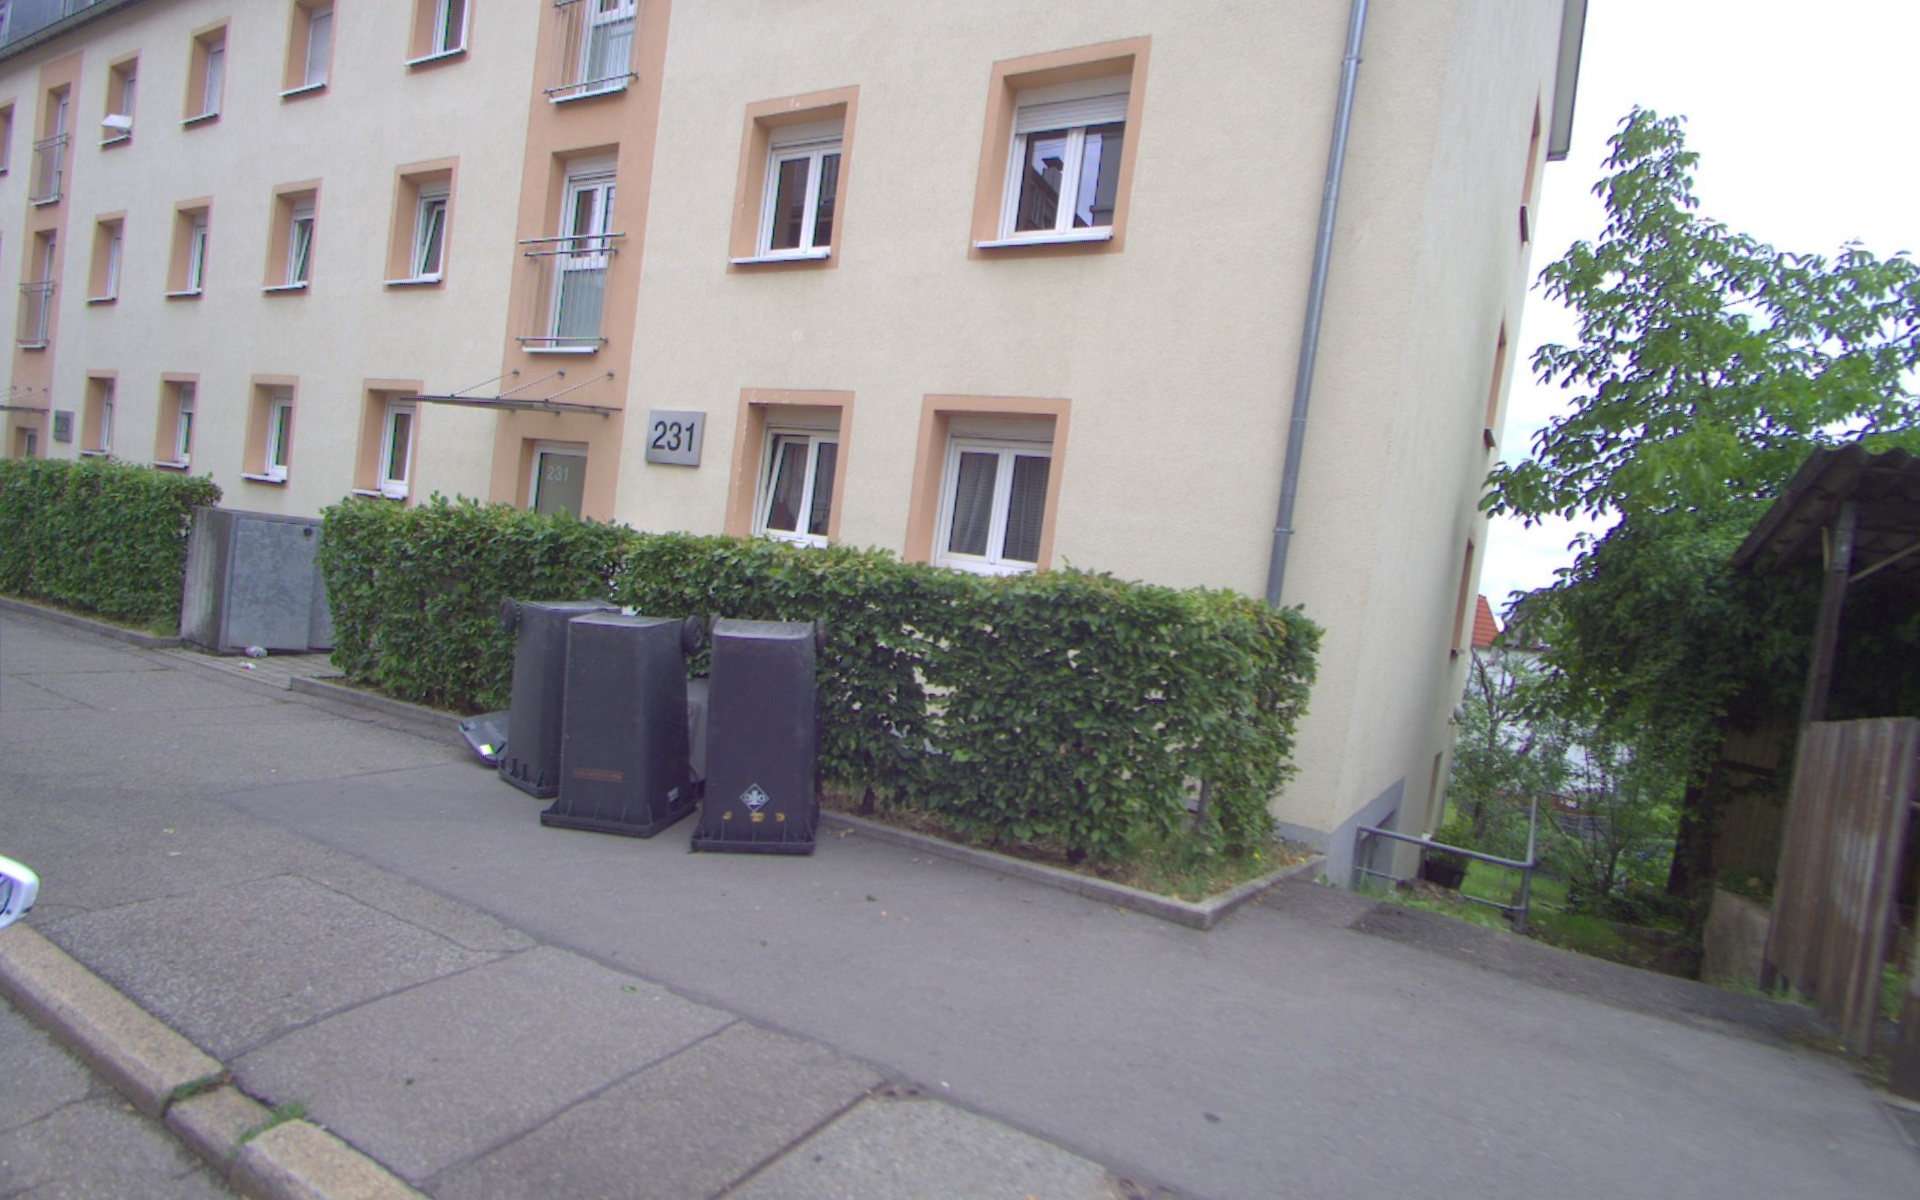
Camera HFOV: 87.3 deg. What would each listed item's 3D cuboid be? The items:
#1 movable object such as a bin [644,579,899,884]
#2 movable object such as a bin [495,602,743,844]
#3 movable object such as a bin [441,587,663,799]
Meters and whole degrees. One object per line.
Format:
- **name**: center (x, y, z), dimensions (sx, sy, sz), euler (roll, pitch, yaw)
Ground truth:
- **movable object such as a bin**: center (-0.873, 0.571, 4.766), dimensions (0.775, 1.234, 0.793), euler (6, 1, 28)
- **movable object such as a bin**: center (-1.686, 0.570, 5.037), dimensions (0.775, 1.025, 0.793), euler (6, 1, 28)
- **movable object such as a bin**: center (-2.276, 0.489, 5.638), dimensions (0.776, 1.025, 0.792), euler (6, 1, 33)
